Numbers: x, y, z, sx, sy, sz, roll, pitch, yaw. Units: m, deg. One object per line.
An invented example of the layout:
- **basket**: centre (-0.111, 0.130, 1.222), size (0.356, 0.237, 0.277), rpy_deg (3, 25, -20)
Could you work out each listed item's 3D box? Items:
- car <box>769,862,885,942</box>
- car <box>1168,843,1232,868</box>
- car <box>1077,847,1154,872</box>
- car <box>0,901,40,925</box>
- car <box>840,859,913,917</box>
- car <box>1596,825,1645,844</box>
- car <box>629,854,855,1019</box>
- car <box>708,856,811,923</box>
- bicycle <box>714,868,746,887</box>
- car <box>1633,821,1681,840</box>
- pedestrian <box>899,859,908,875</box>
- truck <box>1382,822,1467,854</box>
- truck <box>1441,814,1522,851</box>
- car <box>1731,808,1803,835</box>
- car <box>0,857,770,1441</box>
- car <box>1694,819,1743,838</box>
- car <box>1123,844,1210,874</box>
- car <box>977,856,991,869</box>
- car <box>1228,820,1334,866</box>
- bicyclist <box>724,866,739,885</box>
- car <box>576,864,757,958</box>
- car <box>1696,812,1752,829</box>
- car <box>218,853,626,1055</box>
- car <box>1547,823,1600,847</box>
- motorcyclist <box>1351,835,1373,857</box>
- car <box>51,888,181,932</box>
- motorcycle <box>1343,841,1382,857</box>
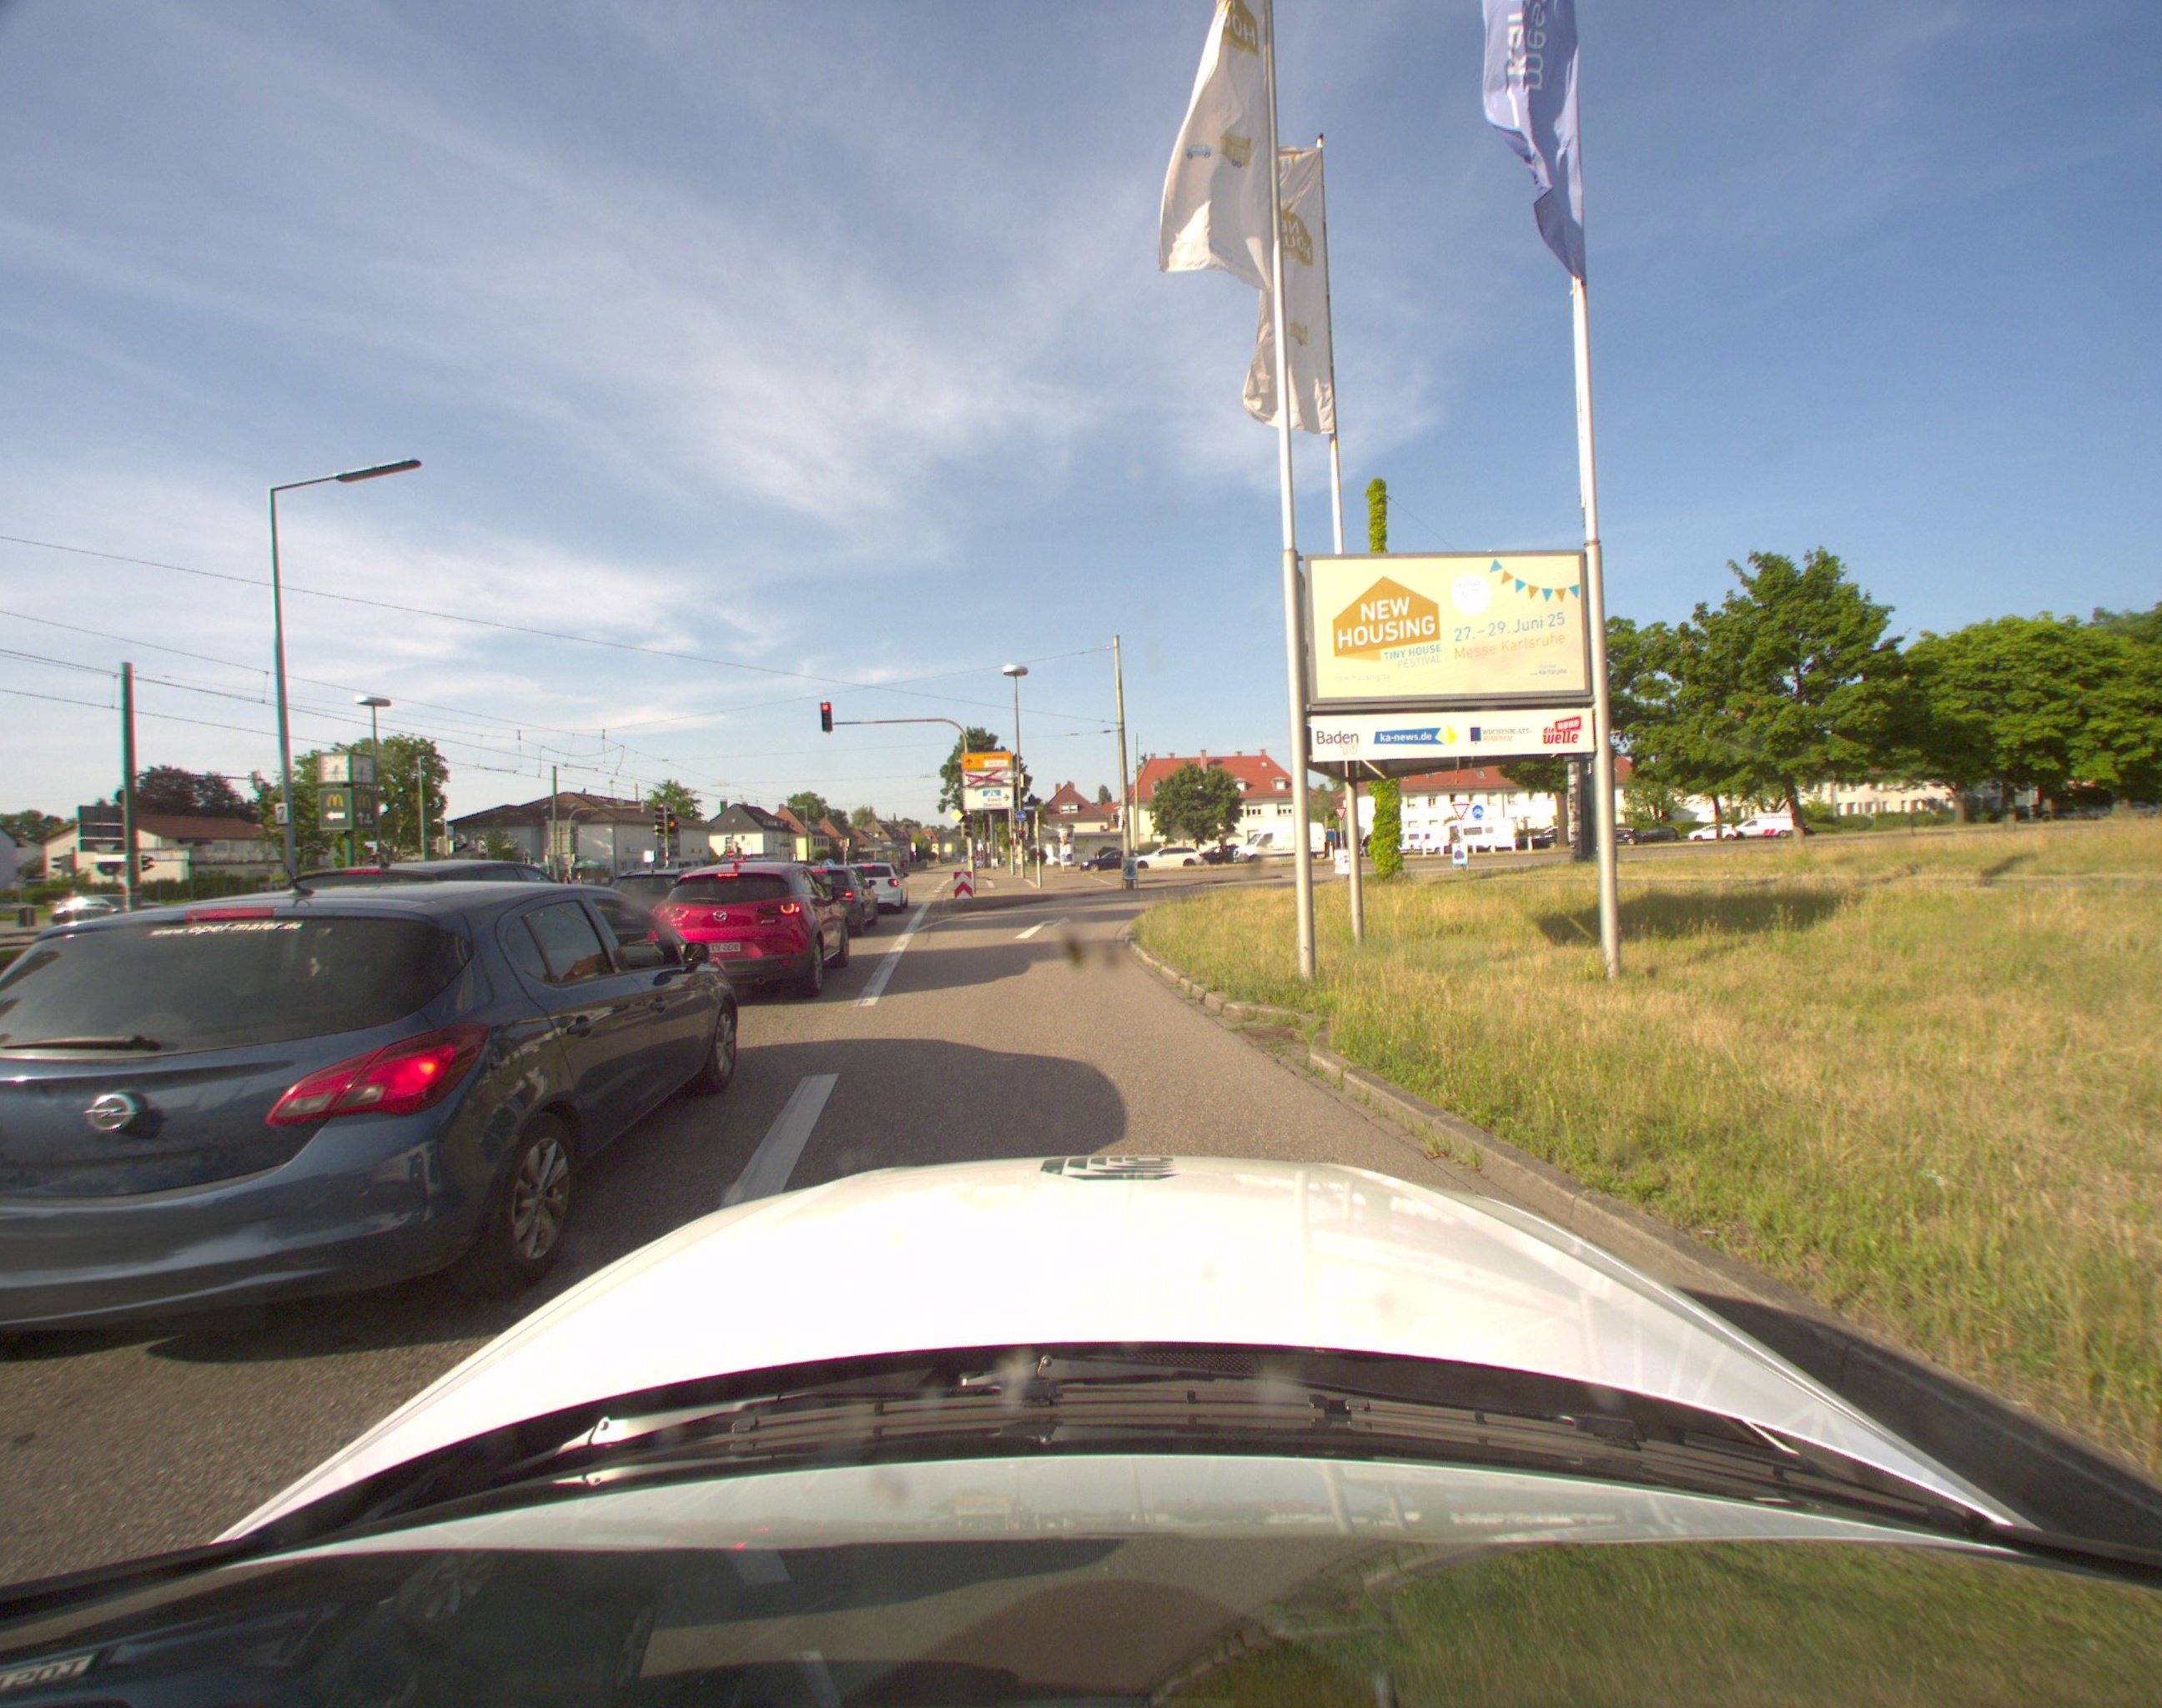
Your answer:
- **car**: centre (-5.277, 0.930, 17.375), size (1.641, 1.397, 3.817), rpy_deg (-3, 0, -7)
- **car**: centre (7.987, 0.084, 54.822), size (3.983, 1.453, 1.712), rpy_deg (-3, 0, -7)
- **car**: centre (2.264, 0.335, 54.077), size (4.819, 1.411, 1.712), rpy_deg (-3, 0, -7)
- **car**: centre (-81.067, 4.480, 60.507), size (1.988, 1.684, 4.218), rpy_deg (-1, -1, -1)
- **car**: centre (-5.814, 0.901, 23.499), size (1.656, 1.443, 4.001), rpy_deg (-3, 0, -10)
- **car**: centre (48.482, -1.745, 73.199), size (3.454, 1.513, 1.908), rpy_deg (-3, 0, 41)
- **car**: centre (-3.962, 0.828, 10.218), size (1.706, 1.551, 3.964), rpy_deg (-3, 0, -10)
- **car**: centre (-9.084, 0.909, 23.410), size (1.505, 1.651, 4.733), rpy_deg (-3, 0, -7)
- **bicycle**: centre (-26.467, 1.793, 61.491), size (2.079, 1.348, 1.102), rpy_deg (-1, -1, -17)
- **car**: centre (53.464, -2.155, 75.626), size (3.389, 1.513, 1.908), rpy_deg (-3, 0, 41)
- **pedestrian**: centre (-17.548, 1.270, 80.377), size (0.752, 1.499, 0.825), rpy_deg (-1, -1, -5)
- **truck**: centre (29.429, -1.365, 70.014), size (2.290, 2.524, 6.280), rpy_deg (-3, 1, -42)
- **truck**: centre (35.098, -1.843, 71.506), size (6.000, 2.854, 1.908), rpy_deg (-3, 0, 36)
- **car**: centre (64.048, -3.013, 76.155), size (4.914, 2.232, 2.013), rpy_deg (-3, 0, 37)
- **car**: centre (-3.036, 0.817, 4.317), size (1.742, 1.505, 4.208), rpy_deg (-3, 0, -10)
- **car**: centre (58.425, -2.296, 74.681), size (3.389, 1.513, 1.908), rpy_deg (-3, 0, 41)
- **car**: centre (5.294, 0.289, 50.956), size (5.090, 1.563, 1.835), rpy_deg (-3, 0, -7)
- **car**: centre (-11.549, 1.032, 97.031), size (1.673, 1.398, 3.990), rpy_deg (-1, -1, -7)
- **car**: centre (12.742, -0.682, 52.008), size (6.203, 2.583, 1.995), rpy_deg (-3, 0, -8)
- **bicyclist**: centre (-26.424, 1.638, 61.500), size (0.886, 1.431, 1.130), rpy_deg (-1, -1, -16)
- **car**: centre (-8.067, 1.011, 16.368), size (1.698, 1.508, 4.543), rpy_deg (-2, 0, -7)
- **car**: centre (73.299, -3.795, 92.931), size (1.992, 1.719, 4.966), rpy_deg (-3, 0, -8)
- **car**: centre (-6.880, 0.868, 9.173), size (1.764, 1.670, 4.069), rpy_deg (-2, 0, -10)
- **car**: centre (44.421, -1.748, 73.472), size (3.858, 1.920, 1.908), rpy_deg (-3, 0, 37)
- **motorcyclist**: centre (17.943, -0.526, 52.000), size (1.065, 1.352, 0.678), rpy_deg (-3, 0, -9)
- **car**: centre (-46.018, 2.657, 38.900), size (3.982, 1.793, 1.516), rpy_deg (-3, 0, -6)
- **motorcycle**: centre (17.960, -0.317, 51.988), size (2.270, 0.866, 0.688), rpy_deg (-3, 0, -9)
